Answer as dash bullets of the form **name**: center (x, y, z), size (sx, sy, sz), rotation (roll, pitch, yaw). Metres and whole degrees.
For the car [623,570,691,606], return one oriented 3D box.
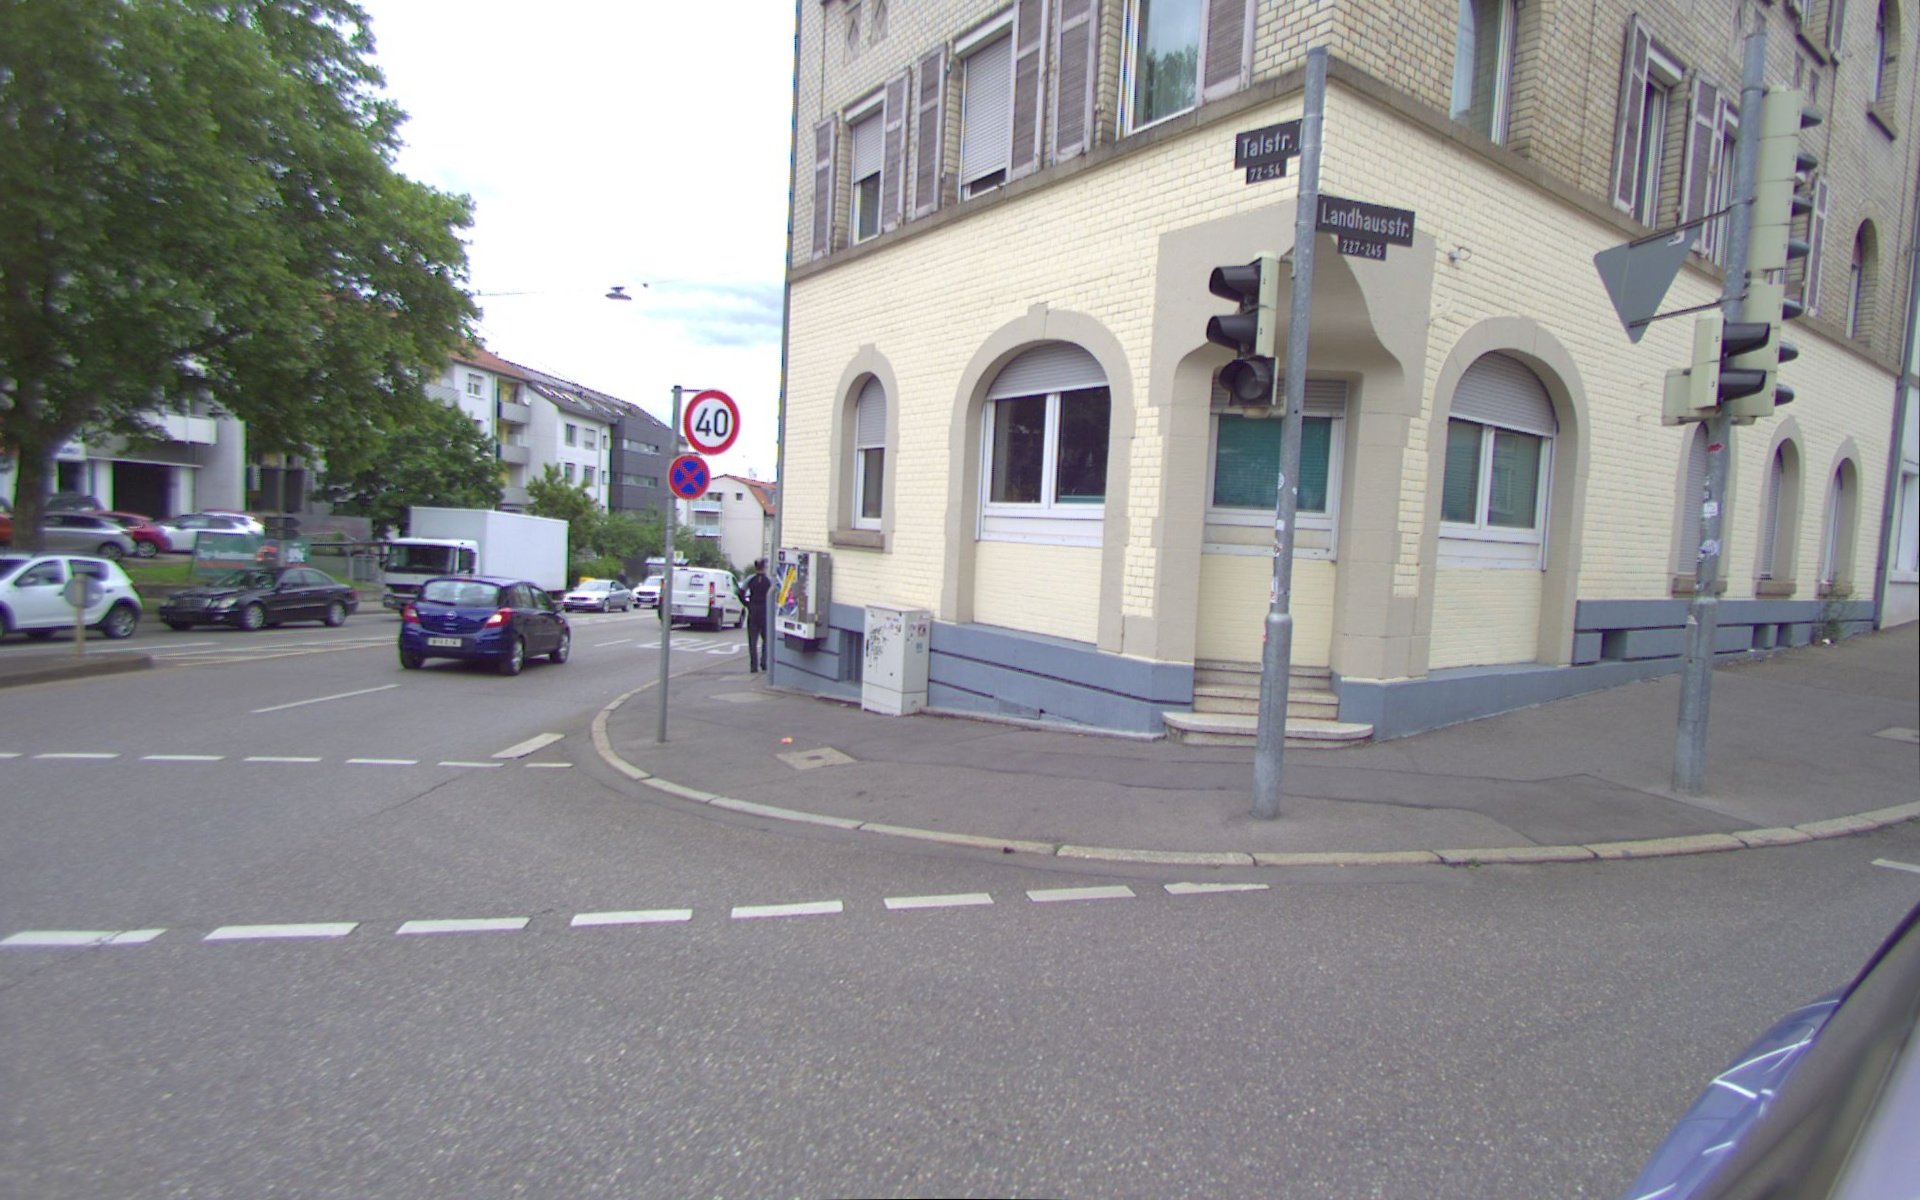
- **car**: center (-15.113, -0.638, 50.649), size (1.963, 1.649, 4.408), rotation (1, 2, 2)

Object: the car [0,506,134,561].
- **car**: center (-28.446, -2.098, 31.597), size (3.934, 1.523, 1.859), rotation (1, 3, -45)

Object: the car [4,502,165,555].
- **car**: center (-29.397, -2.381, 34.156), size (3.924, 1.523, 1.864), rotation (1, 3, -36)

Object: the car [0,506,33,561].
- **car**: center (-28.614, -1.965, 28.239), size (1.857, 1.523, 3.938), rotation (5, 3, 43)

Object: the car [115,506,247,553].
- **car**: center (-28.877, -2.596, 37.591), size (1.783, 1.523, 3.568), rotation (5, 3, 37)

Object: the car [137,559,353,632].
- **car**: center (-16.246, -0.182, 23.329), size (1.962, 1.483, 4.411), rotation (1, 2, -1)

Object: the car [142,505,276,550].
- **car**: center (-29.952, -2.873, 40.445), size (1.855, 1.523, 3.943), rotation (5, 3, 39)

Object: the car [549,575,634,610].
- **car**: center (-15.405, -0.351, 42.550), size (1.884, 1.315, 4.409), rotation (1, 2, 1)

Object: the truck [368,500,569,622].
- **truck**: center (-15.987, -1.287, 33.760), size (2.721, 3.545, 8.172), rotation (1, 2, 0)

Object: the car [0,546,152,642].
- **car**: center (-16.389, -0.150, 17.222), size (1.962, 1.545, 4.260), rotation (1, 2, -1)

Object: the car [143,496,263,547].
- **car**: center (-31.646, -3.279, 42.430), size (3.924, 1.845, 1.864), rotation (1, 3, -36)

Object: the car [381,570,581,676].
- **car**: center (-7.636, 0.275, 16.531), size (1.725, 1.465, 3.756), rotation (1, 2, -4)

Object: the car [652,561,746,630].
- **car**: center (-8.210, -0.183, 32.223), size (1.835, 1.906, 4.287), rotation (5, 1, -1)

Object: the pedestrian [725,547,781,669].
- **pedestrian**: center (-3.429, 0.120, 16.841), size (0.733, 1.960, 0.903), rotation (-1, 1, 0)
